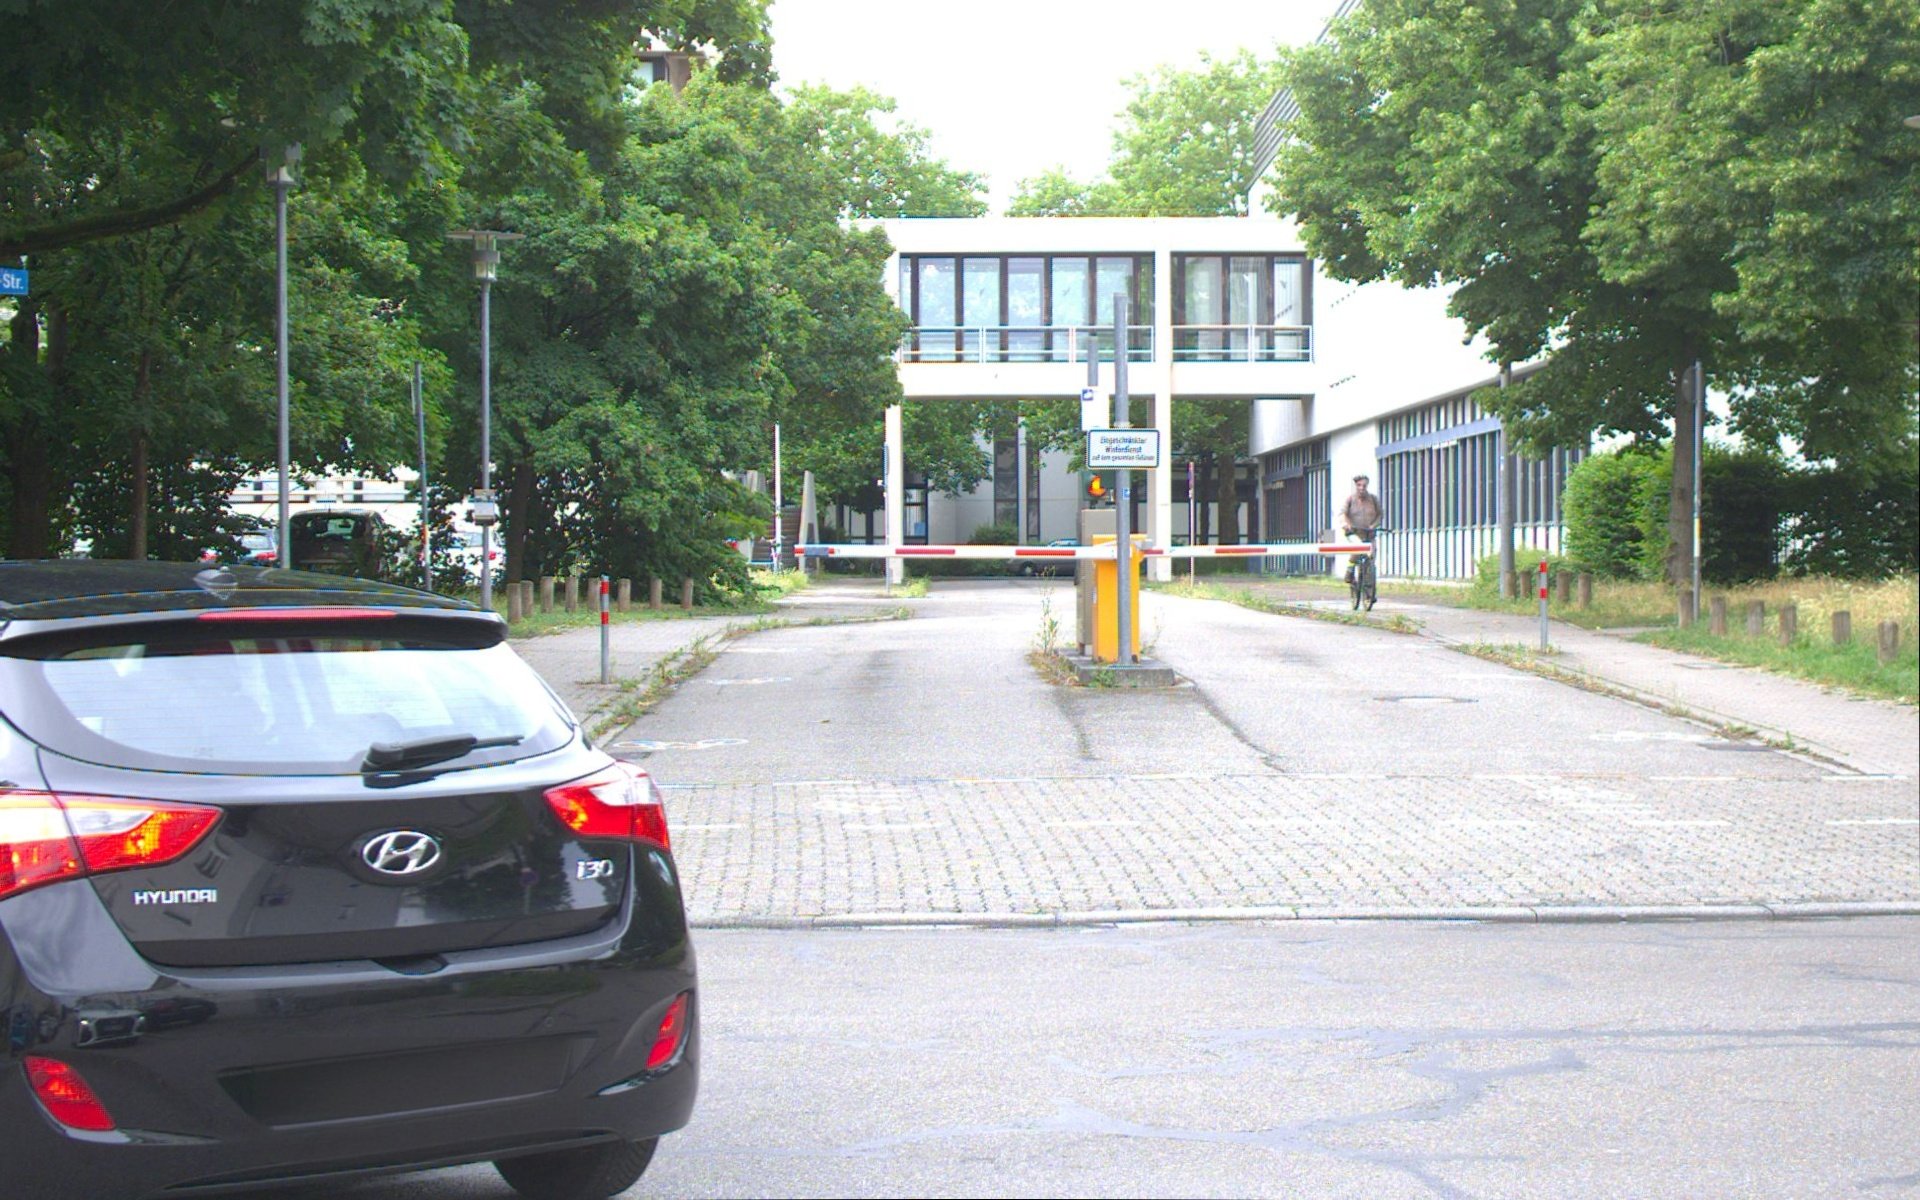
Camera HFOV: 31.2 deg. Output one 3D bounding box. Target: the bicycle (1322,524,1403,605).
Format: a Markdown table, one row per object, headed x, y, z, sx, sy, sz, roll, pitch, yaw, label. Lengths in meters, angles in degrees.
| x | y | z | sx | sy | sz | roll | pitch | yaw | label |
| --- | --- | --- | --- | --- | --- | --- | --- | --- | --- |
| 5.545 | -0.504 | 47.502 | 0.866 | 1.071 | 2.142 | 0 | 2 | 0 | bicycle |

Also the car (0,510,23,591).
| x | y | z | sx | sy | sz | roll | pitch | yaw | label |
| --- | --- | --- | --- | --- | --- | --- | --- | --- | --- |
| -20.250 | -0.996 | 69.243 | 1.993 | 1.612 | 4.001 | 0 | 1 | -5 | car |

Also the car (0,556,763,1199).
| x | y | z | sx | sy | sz | roll | pitch | yaw | label |
| --- | --- | --- | --- | --- | --- | --- | --- | --- | --- |
| -2.273 | 0.625 | 8.083 | 1.846 | 1.457 | 3.827 | 0 | 1 | -36 | car |

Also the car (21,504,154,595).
| x | y | z | sx | sy | sz | roll | pitch | yaw | label |
| --- | --- | --- | --- | --- | --- | --- | --- | --- | --- |
| -17.527 | -0.989 | 69.214 | 1.993 | 1.722 | 4.000 | 0 | -1 | -5 | car |

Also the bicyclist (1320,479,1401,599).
| x | y | z | sx | sy | sz | roll | pitch | yaw | label |
| --- | --- | --- | --- | --- | --- | --- | --- | --- | --- |
| 5.524 | -0.853 | 47.473 | 1.017 | 1.639 | 0.923 | 0 | 1 | 0 | bicyclist |

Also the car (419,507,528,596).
| x | y | z | sx | sy | sz | roll | pitch | yaw | label |
| --- | --- | --- | --- | --- | --- | --- | --- | --- | --- |
| -9.834 | -0.967 | 69.715 | 1.993 | 1.756 | 4.001 | 0 | 0 | -5 | car |

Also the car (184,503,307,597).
| x | y | z | sx | sy | sz | roll | pitch | yaw | label |
| --- | --- | --- | --- | --- | --- | --- | --- | --- | --- |
| -14.428 | -0.982 | 69.587 | 1.993 | 1.788 | 4.000 | 0 | -1 | -5 | car |
